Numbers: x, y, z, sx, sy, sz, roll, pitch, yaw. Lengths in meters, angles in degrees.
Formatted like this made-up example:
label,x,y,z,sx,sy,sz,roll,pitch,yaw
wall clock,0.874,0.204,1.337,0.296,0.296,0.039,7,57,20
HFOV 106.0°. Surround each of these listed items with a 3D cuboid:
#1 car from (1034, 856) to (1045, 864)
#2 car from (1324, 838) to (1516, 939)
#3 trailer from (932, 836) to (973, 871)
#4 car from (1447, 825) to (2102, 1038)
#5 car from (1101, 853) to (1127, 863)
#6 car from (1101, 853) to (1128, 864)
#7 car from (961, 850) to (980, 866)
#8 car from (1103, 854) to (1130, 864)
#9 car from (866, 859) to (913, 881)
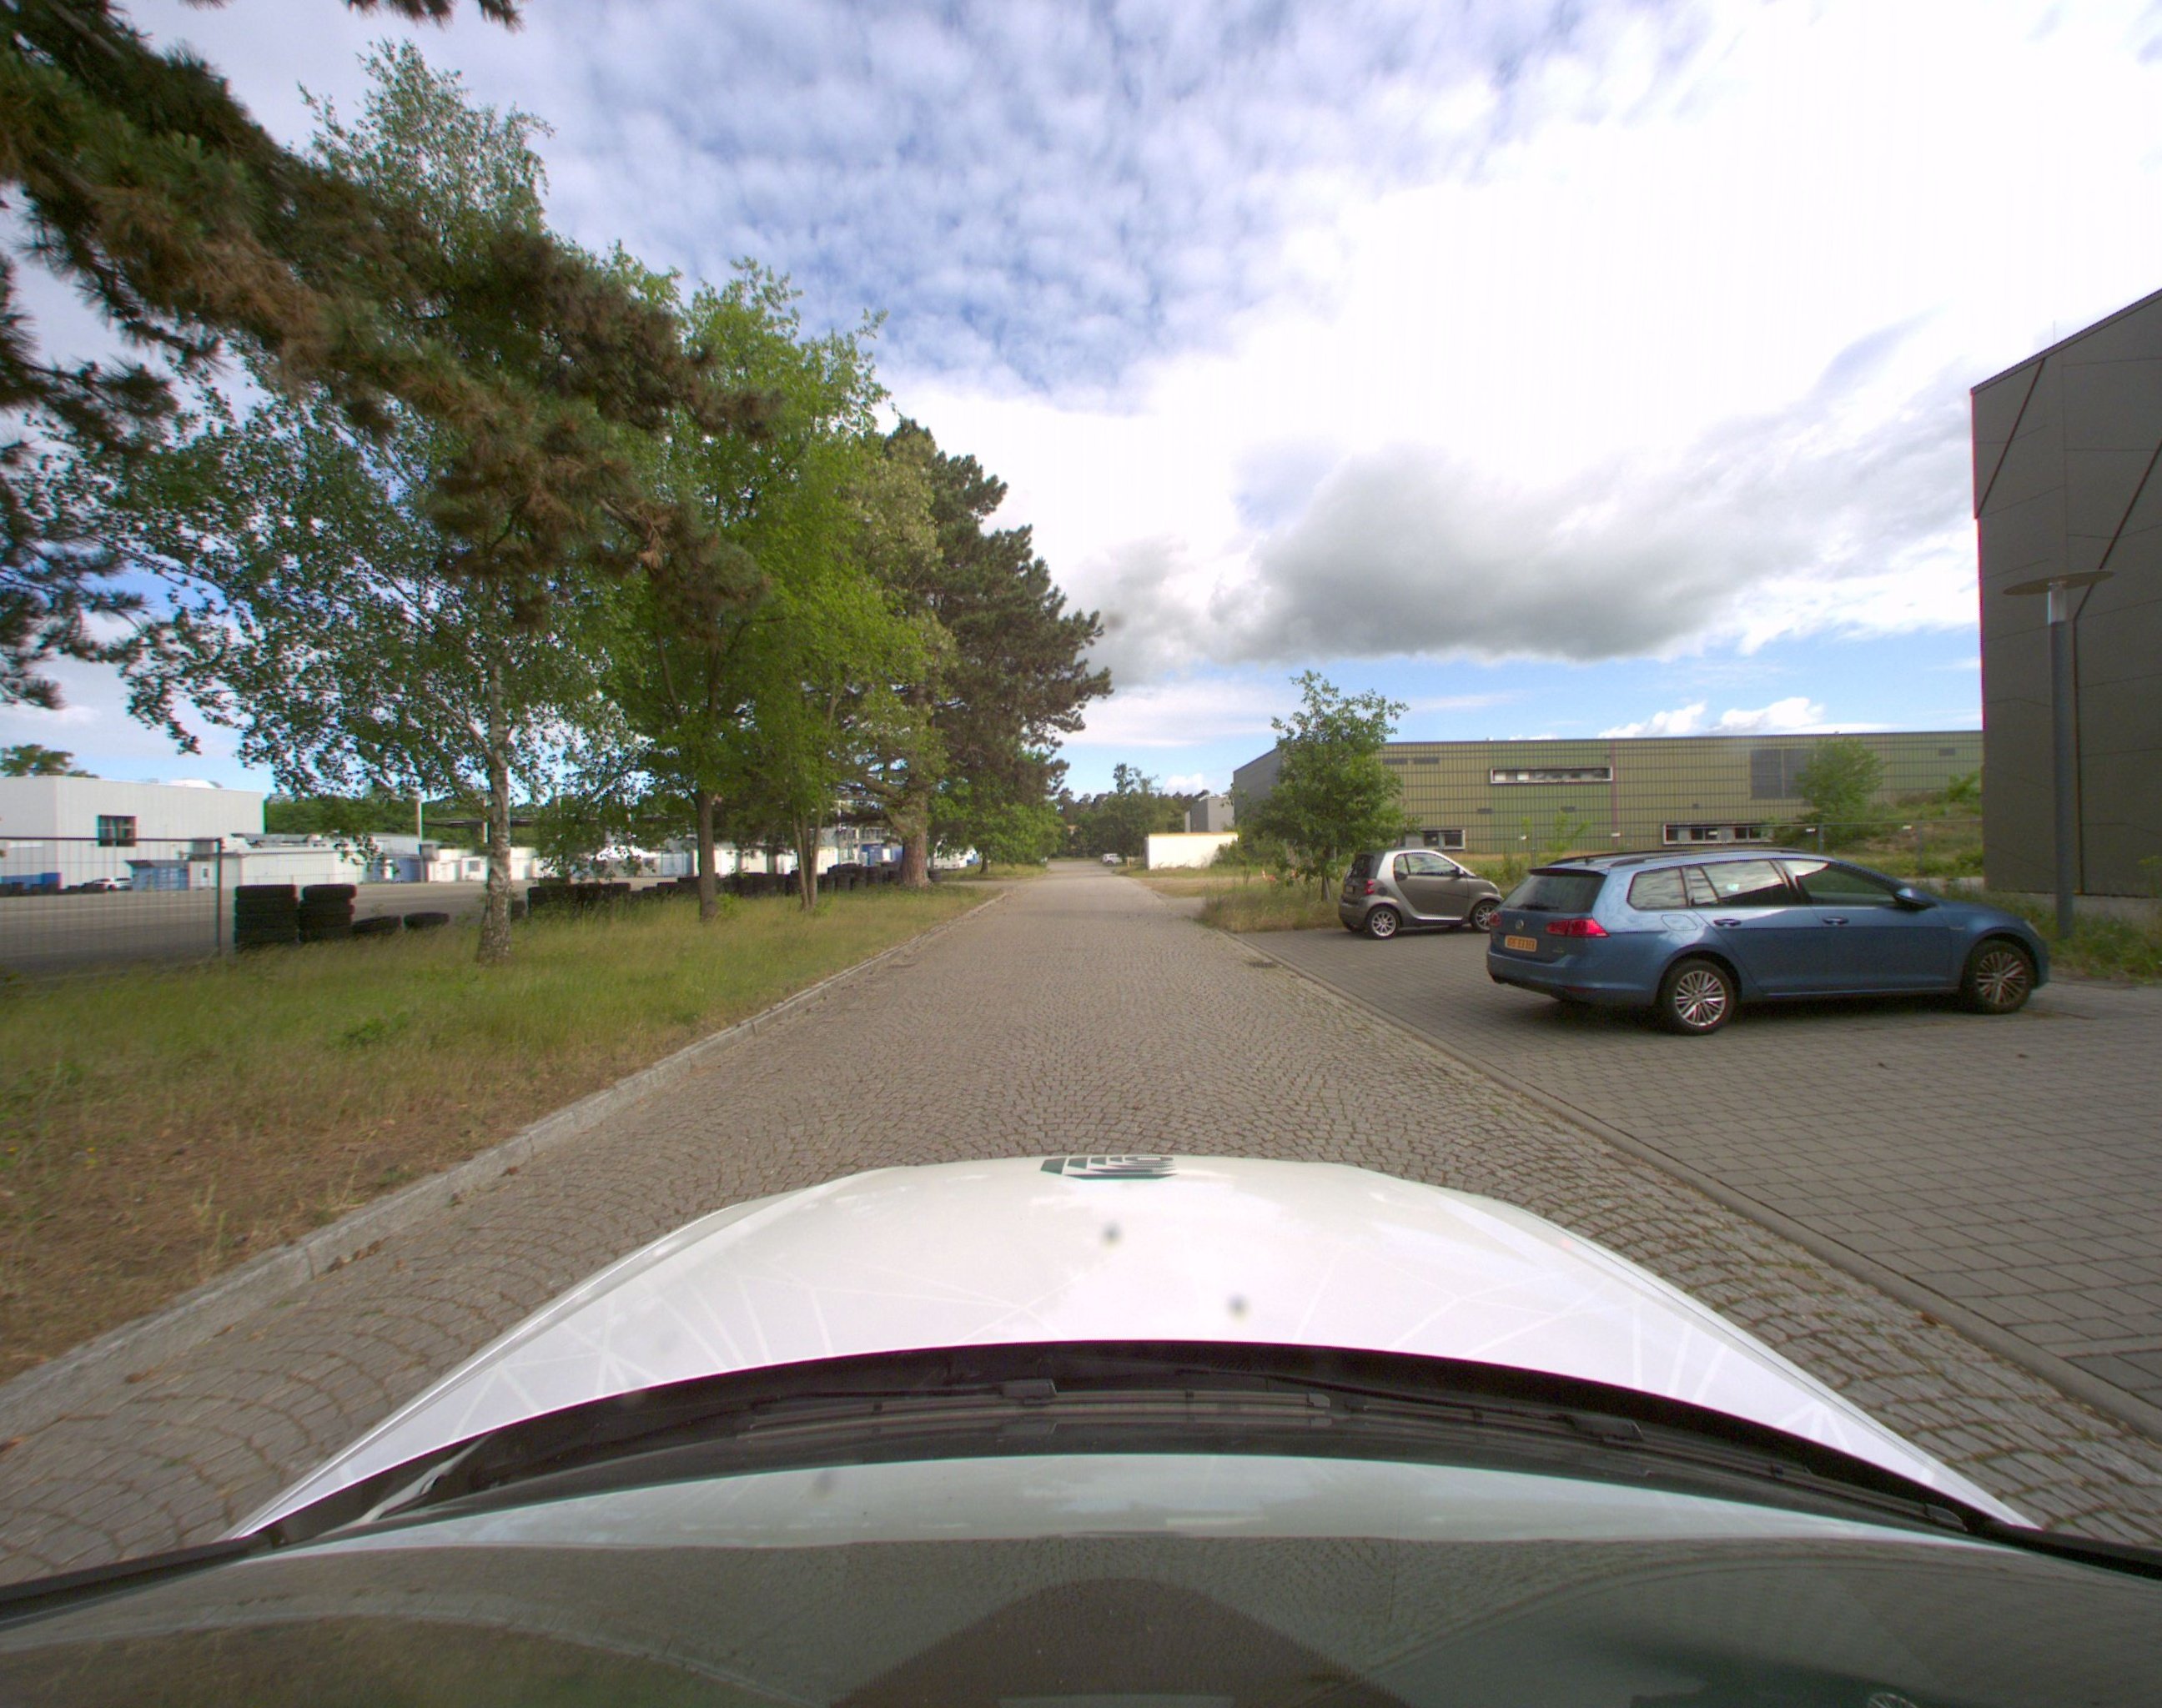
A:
label,x,y,z,sx,sy,sz,roll,pitch,yaw
car,-7.416,1.142,145.963,1.745,1.364,3.996,-1,0,-3
car,6.089,0.587,14.866,2.732,1.582,1.682,-3,0,0
trailer,-14.777,-0.060,94.455,2.646,3.705,10.726,-1,0,2
car,6.109,0.614,7.581,4.514,1.450,1.930,-3,0,-3
car,5.116,0.685,127.384,3.974,1.455,1.769,-1,0,-1
car,5.068,0.686,124.344,3.974,1.455,1.697,-1,0,-1
car,-18.251,0.684,134.208,1.985,2.523,5.622,-1,0,3
car,5.371,0.728,122.180,3.974,1.455,1.999,-1,-1,0
car,-13.189,1.079,56.334,1.815,1.431,4.225,-1,0,6
